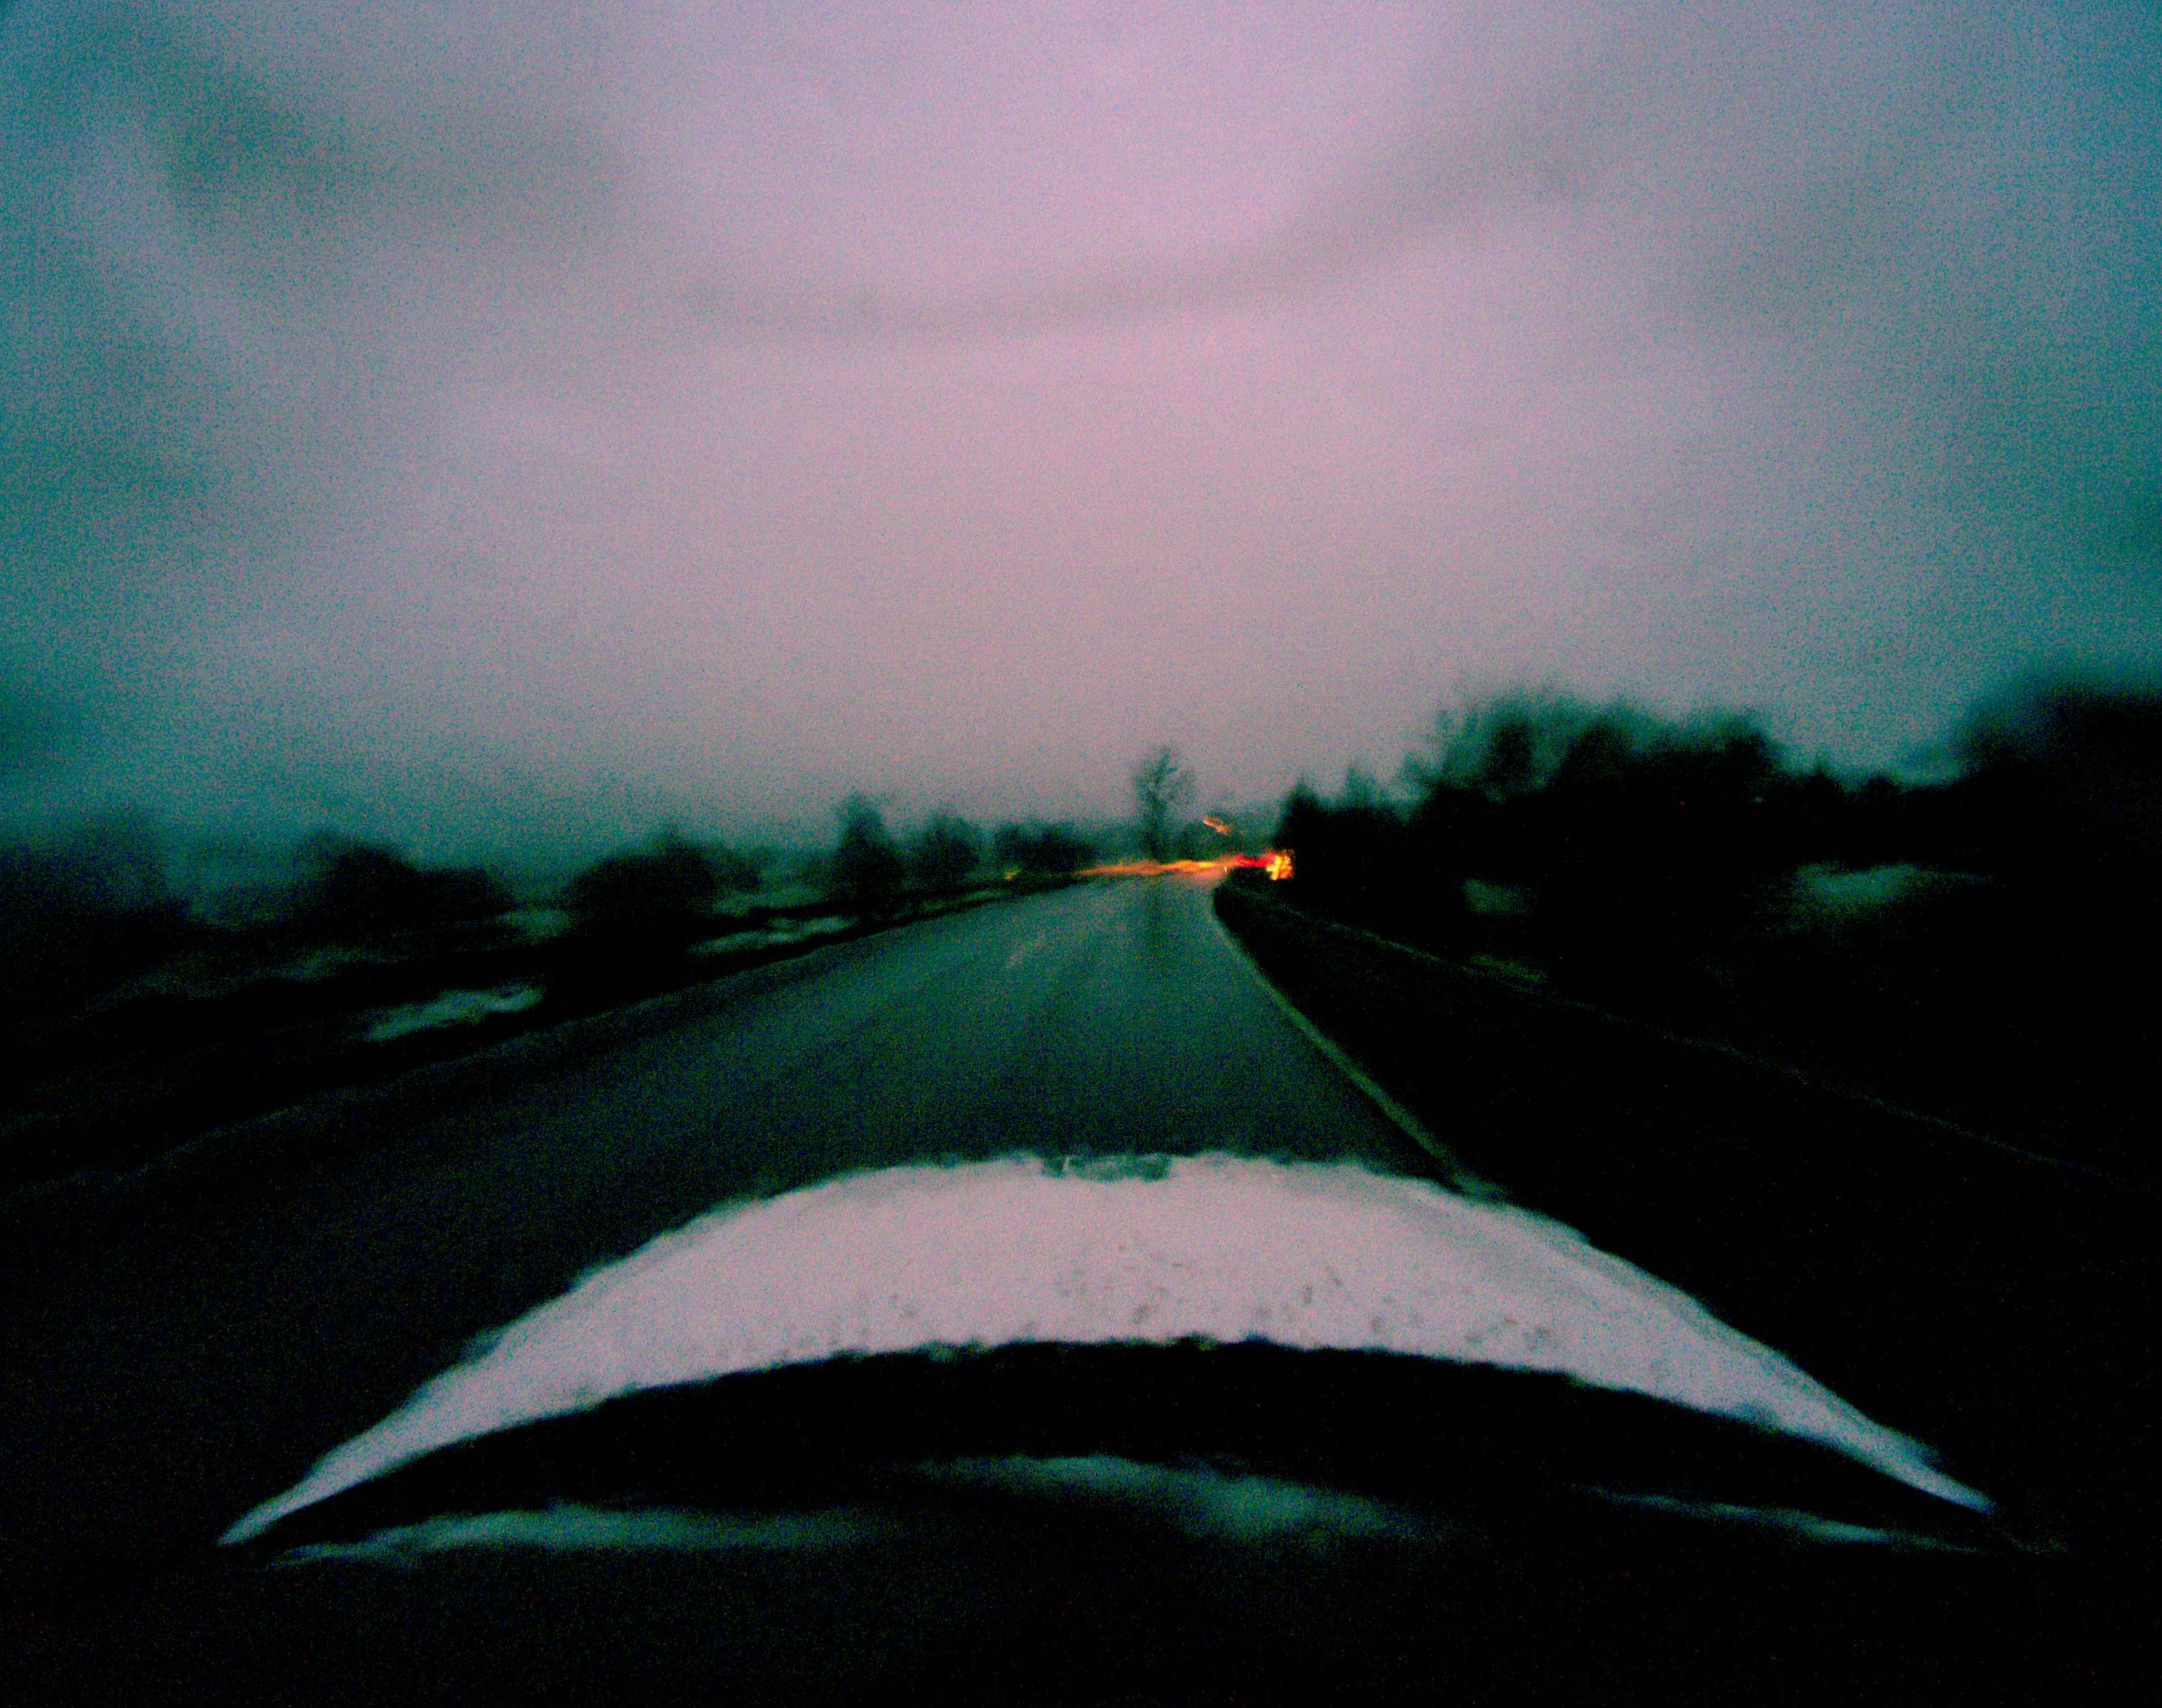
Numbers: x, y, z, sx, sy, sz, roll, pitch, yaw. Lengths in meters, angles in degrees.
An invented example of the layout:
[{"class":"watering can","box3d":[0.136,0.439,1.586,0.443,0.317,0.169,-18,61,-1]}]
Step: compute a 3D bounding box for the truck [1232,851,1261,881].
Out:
[{"class":"truck","box3d":[16.396,1.147,80.925,2.517,2.869,5.937,0,-1,9]}]
